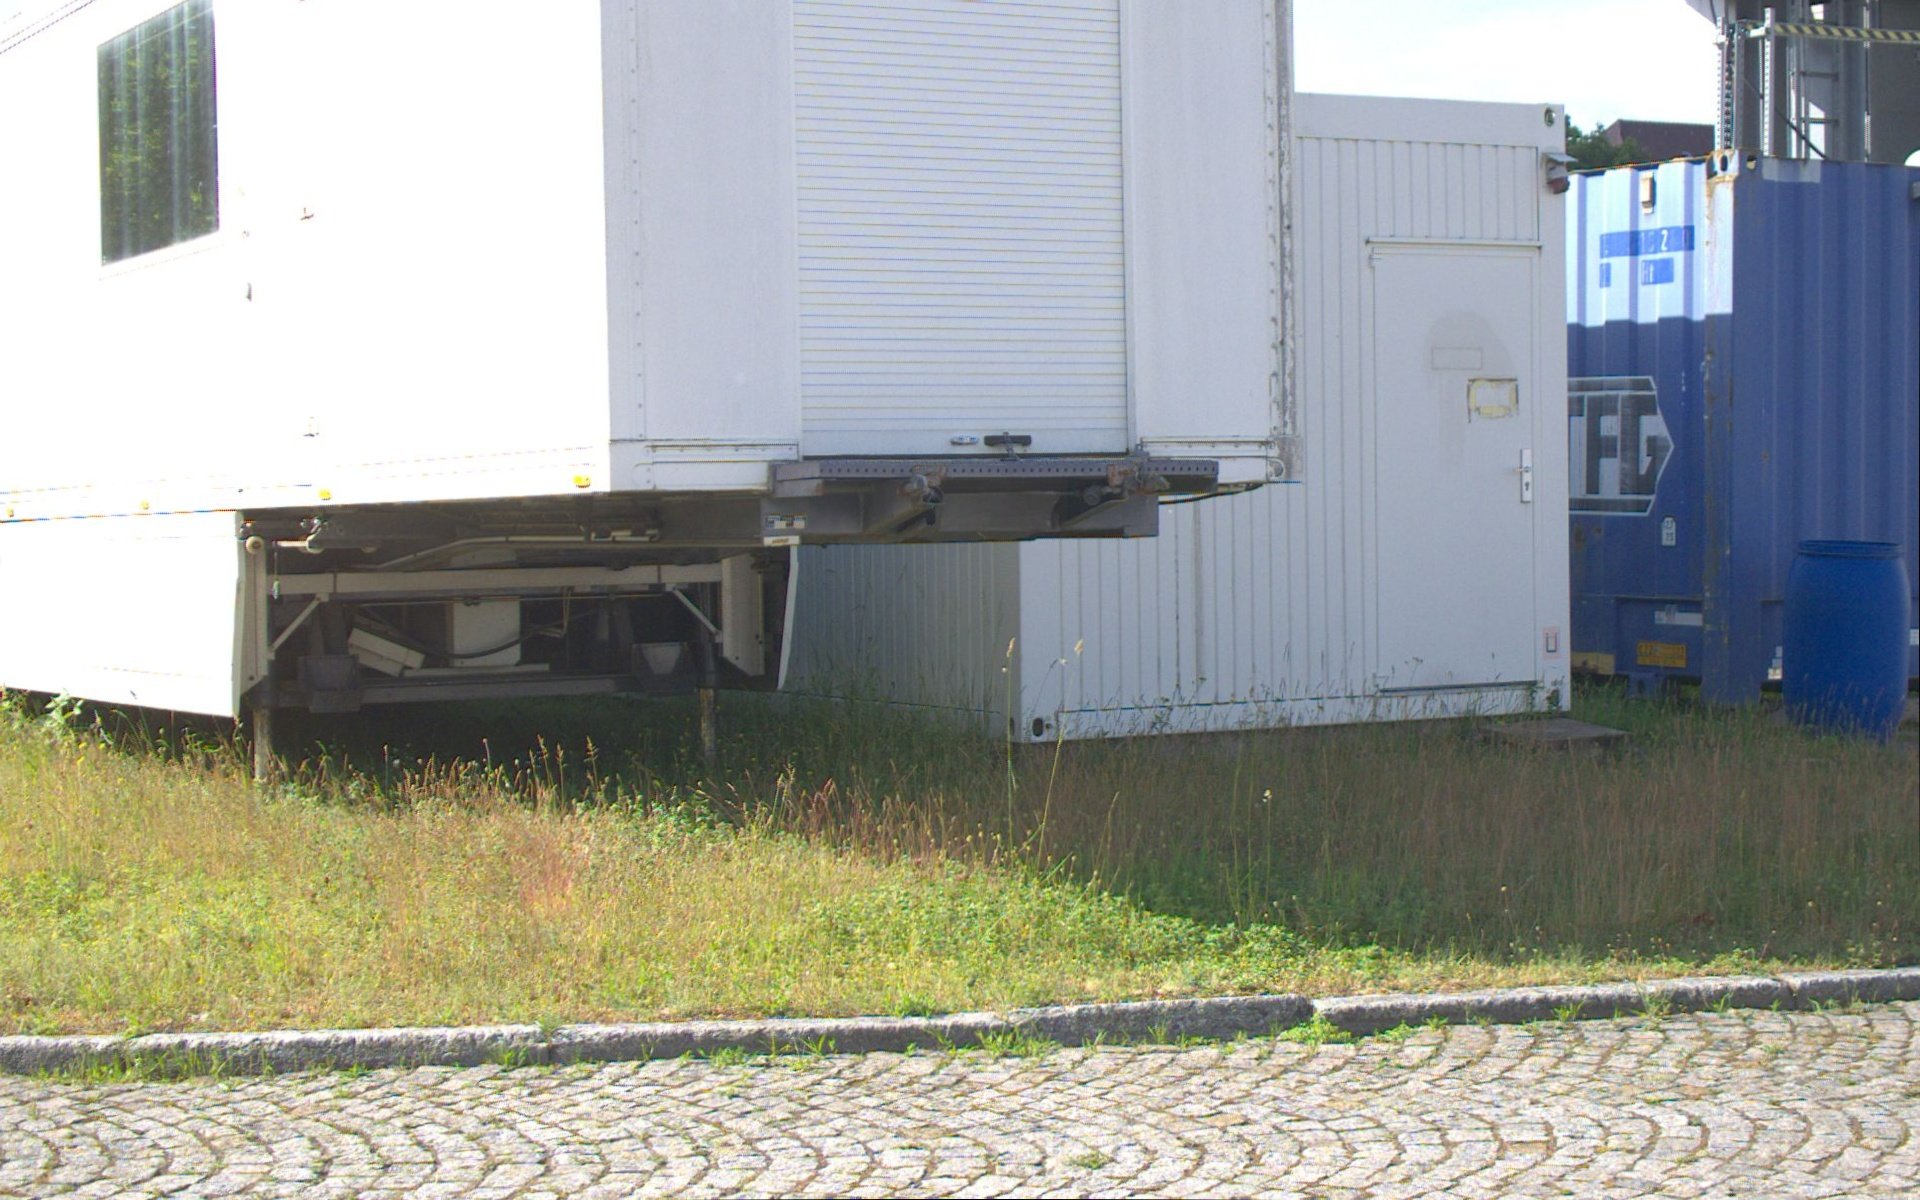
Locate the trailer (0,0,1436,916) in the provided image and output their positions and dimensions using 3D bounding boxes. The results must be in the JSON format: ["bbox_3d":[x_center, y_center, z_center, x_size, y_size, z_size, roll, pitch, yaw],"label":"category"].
[{"bbox_3d":[-2.319,-1.257,15.032,2.772,3.897,10.888,-2,2,-29],"label":"trailer"}]
